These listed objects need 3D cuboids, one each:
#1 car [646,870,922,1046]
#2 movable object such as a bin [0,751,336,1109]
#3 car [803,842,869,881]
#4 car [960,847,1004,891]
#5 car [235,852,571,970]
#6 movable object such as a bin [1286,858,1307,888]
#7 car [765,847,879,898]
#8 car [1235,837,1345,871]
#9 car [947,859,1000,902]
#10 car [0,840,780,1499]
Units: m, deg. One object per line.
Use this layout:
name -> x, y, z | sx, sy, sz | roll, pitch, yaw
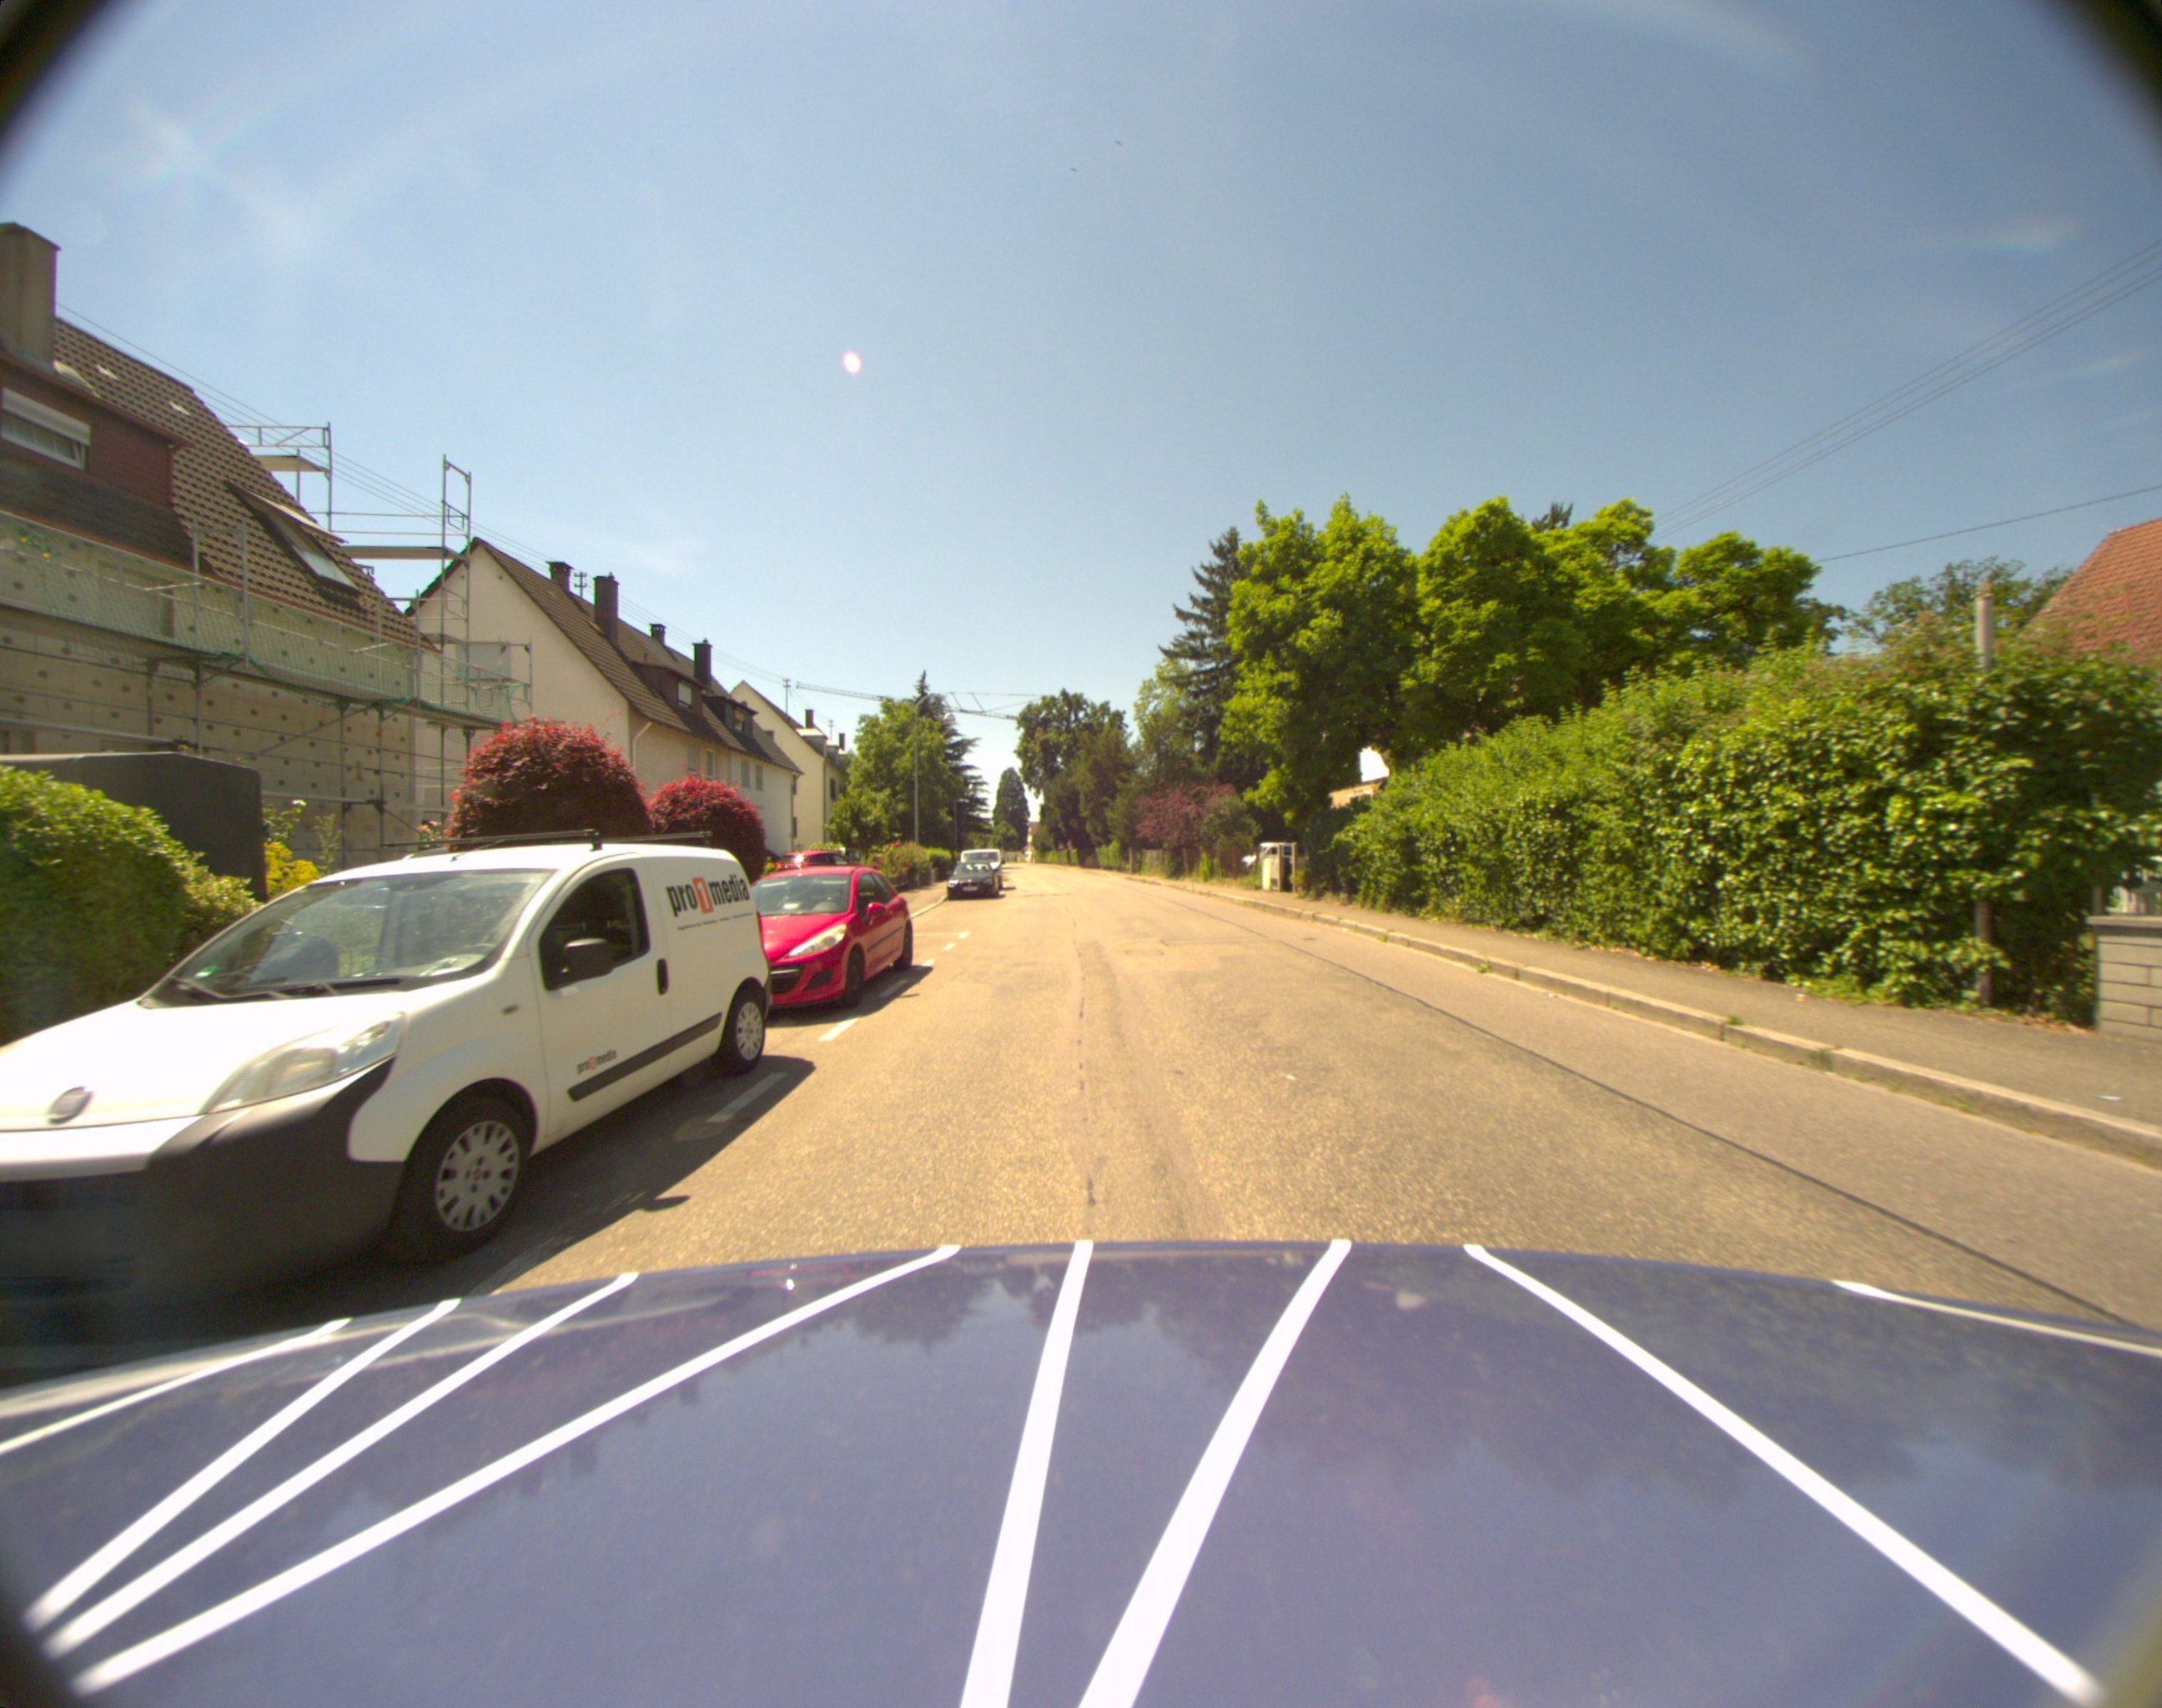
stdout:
car -> -3.189, 1.010, 9.093 | 1.668, 1.446, 3.999 | -3, 1, 0
movable object such as a bin -> -9.062, 0.626, 6.667 | 3.154, 2.731, 1.707 | -2, 1, -2
car -> -12.581, 0.393, 39.287 | 1.749, 1.845, 4.400 | 1, -1, 3
car -> -4.694, 0.670, 36.580 | 1.908, 1.913, 4.716 | -2, 1, -6
car -> -10.048, 0.752, 11.770 | 1.799, 1.501, 3.999 | 0, 0, -4
movable object such as a bin -> 6.738, 0.602, 23.810 | 0.468, 0.904, 0.458 | -2, 1, -5
car -> -9.424, 0.611, 28.021 | 1.741, 1.527, 4.055 | 2, 4, 21
car -> 13.828, -0.008, 50.413 | 6.683, 2.159, 2.400 | 0, 0, -9
car -> -4.036, 0.957, 29.083 | 1.661, 1.390, 3.998 | -2, 1, -4
car -> -3.317, 0.861, 4.042 | 1.668, 1.745, 3.999 | -4, 1, 1
